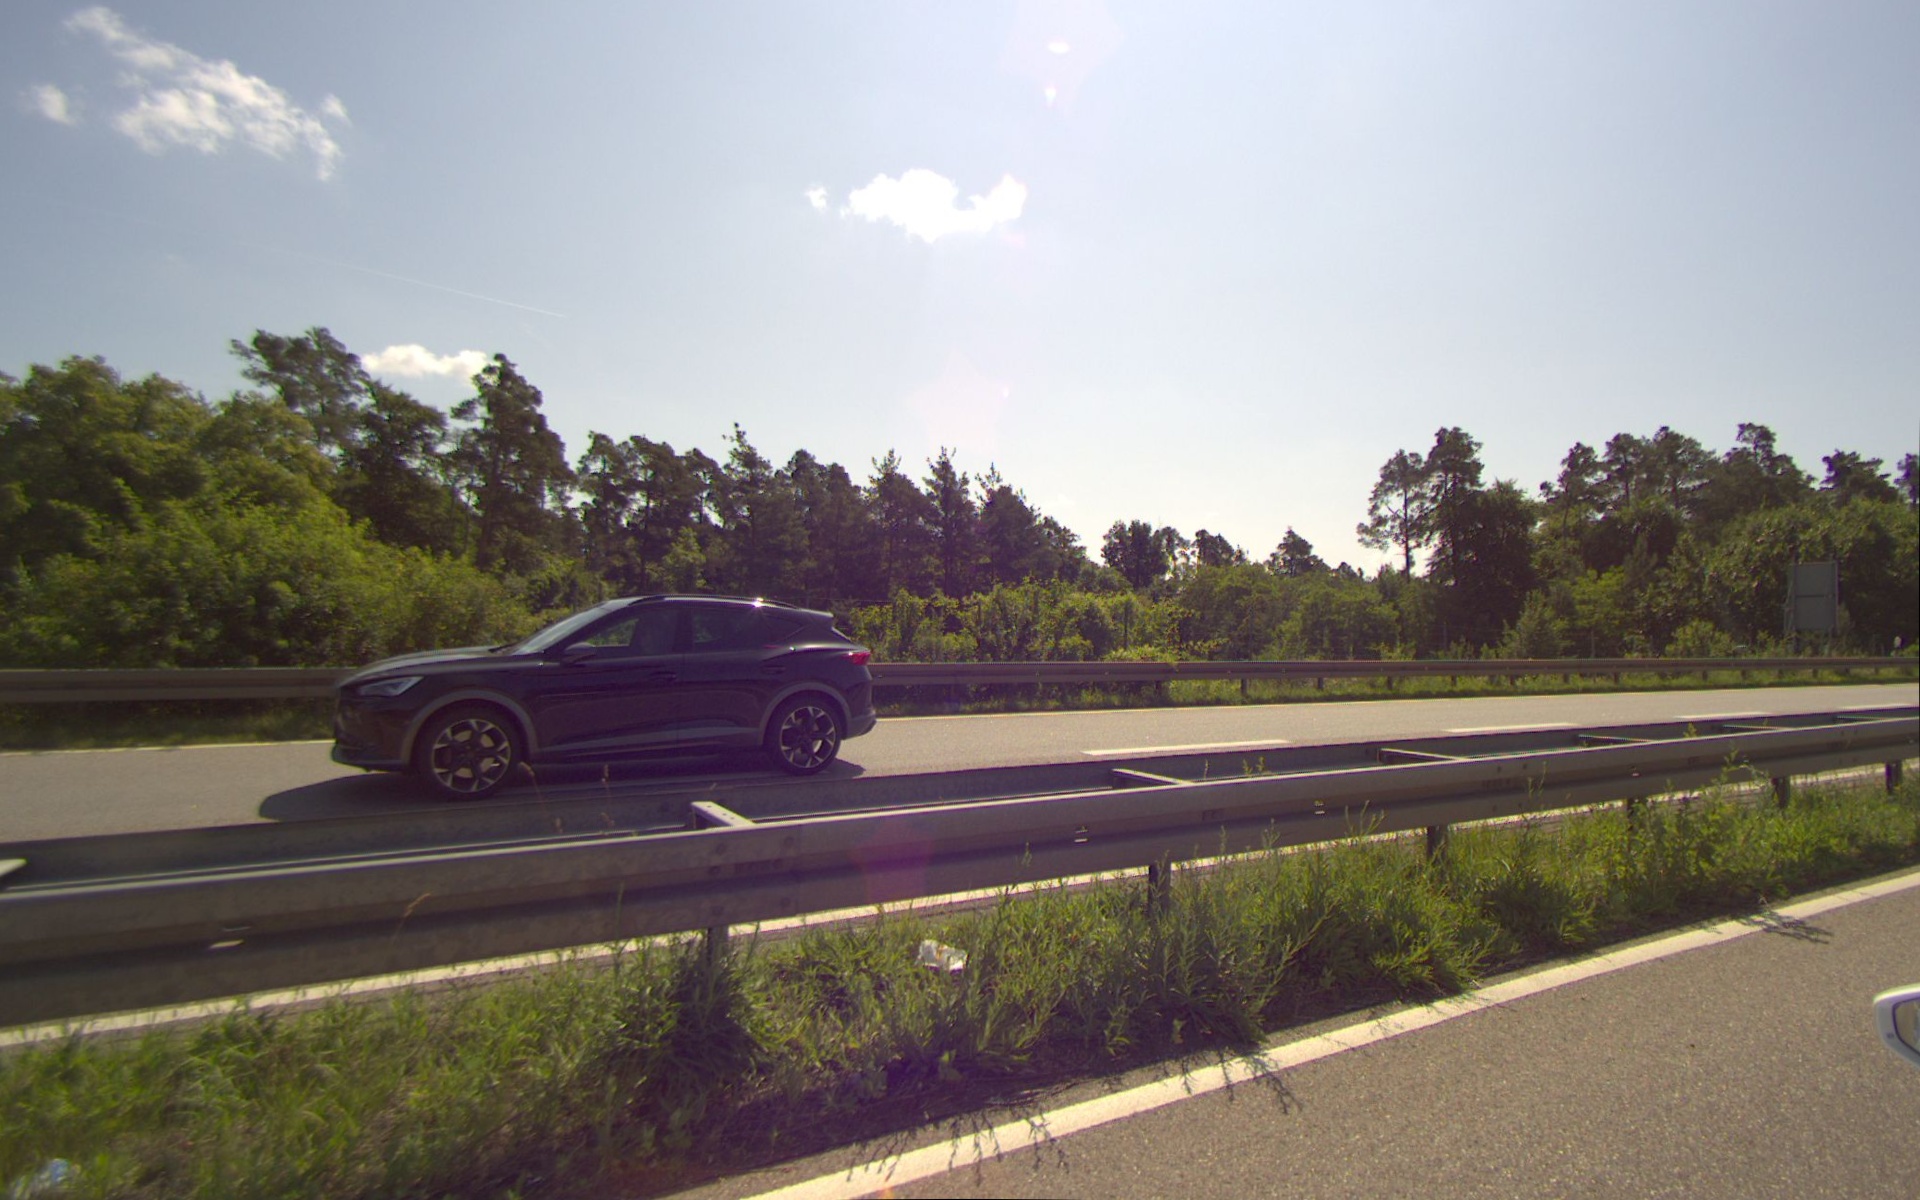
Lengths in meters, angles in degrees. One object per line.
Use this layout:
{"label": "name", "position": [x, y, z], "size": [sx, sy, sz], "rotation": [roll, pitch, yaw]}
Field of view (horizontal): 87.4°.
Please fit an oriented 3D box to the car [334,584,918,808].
{"label": "car", "position": [-2.768, 0.699, 8.768], "size": [4.523, 1.521, 1.746], "rotation": [2, 0, -32]}
